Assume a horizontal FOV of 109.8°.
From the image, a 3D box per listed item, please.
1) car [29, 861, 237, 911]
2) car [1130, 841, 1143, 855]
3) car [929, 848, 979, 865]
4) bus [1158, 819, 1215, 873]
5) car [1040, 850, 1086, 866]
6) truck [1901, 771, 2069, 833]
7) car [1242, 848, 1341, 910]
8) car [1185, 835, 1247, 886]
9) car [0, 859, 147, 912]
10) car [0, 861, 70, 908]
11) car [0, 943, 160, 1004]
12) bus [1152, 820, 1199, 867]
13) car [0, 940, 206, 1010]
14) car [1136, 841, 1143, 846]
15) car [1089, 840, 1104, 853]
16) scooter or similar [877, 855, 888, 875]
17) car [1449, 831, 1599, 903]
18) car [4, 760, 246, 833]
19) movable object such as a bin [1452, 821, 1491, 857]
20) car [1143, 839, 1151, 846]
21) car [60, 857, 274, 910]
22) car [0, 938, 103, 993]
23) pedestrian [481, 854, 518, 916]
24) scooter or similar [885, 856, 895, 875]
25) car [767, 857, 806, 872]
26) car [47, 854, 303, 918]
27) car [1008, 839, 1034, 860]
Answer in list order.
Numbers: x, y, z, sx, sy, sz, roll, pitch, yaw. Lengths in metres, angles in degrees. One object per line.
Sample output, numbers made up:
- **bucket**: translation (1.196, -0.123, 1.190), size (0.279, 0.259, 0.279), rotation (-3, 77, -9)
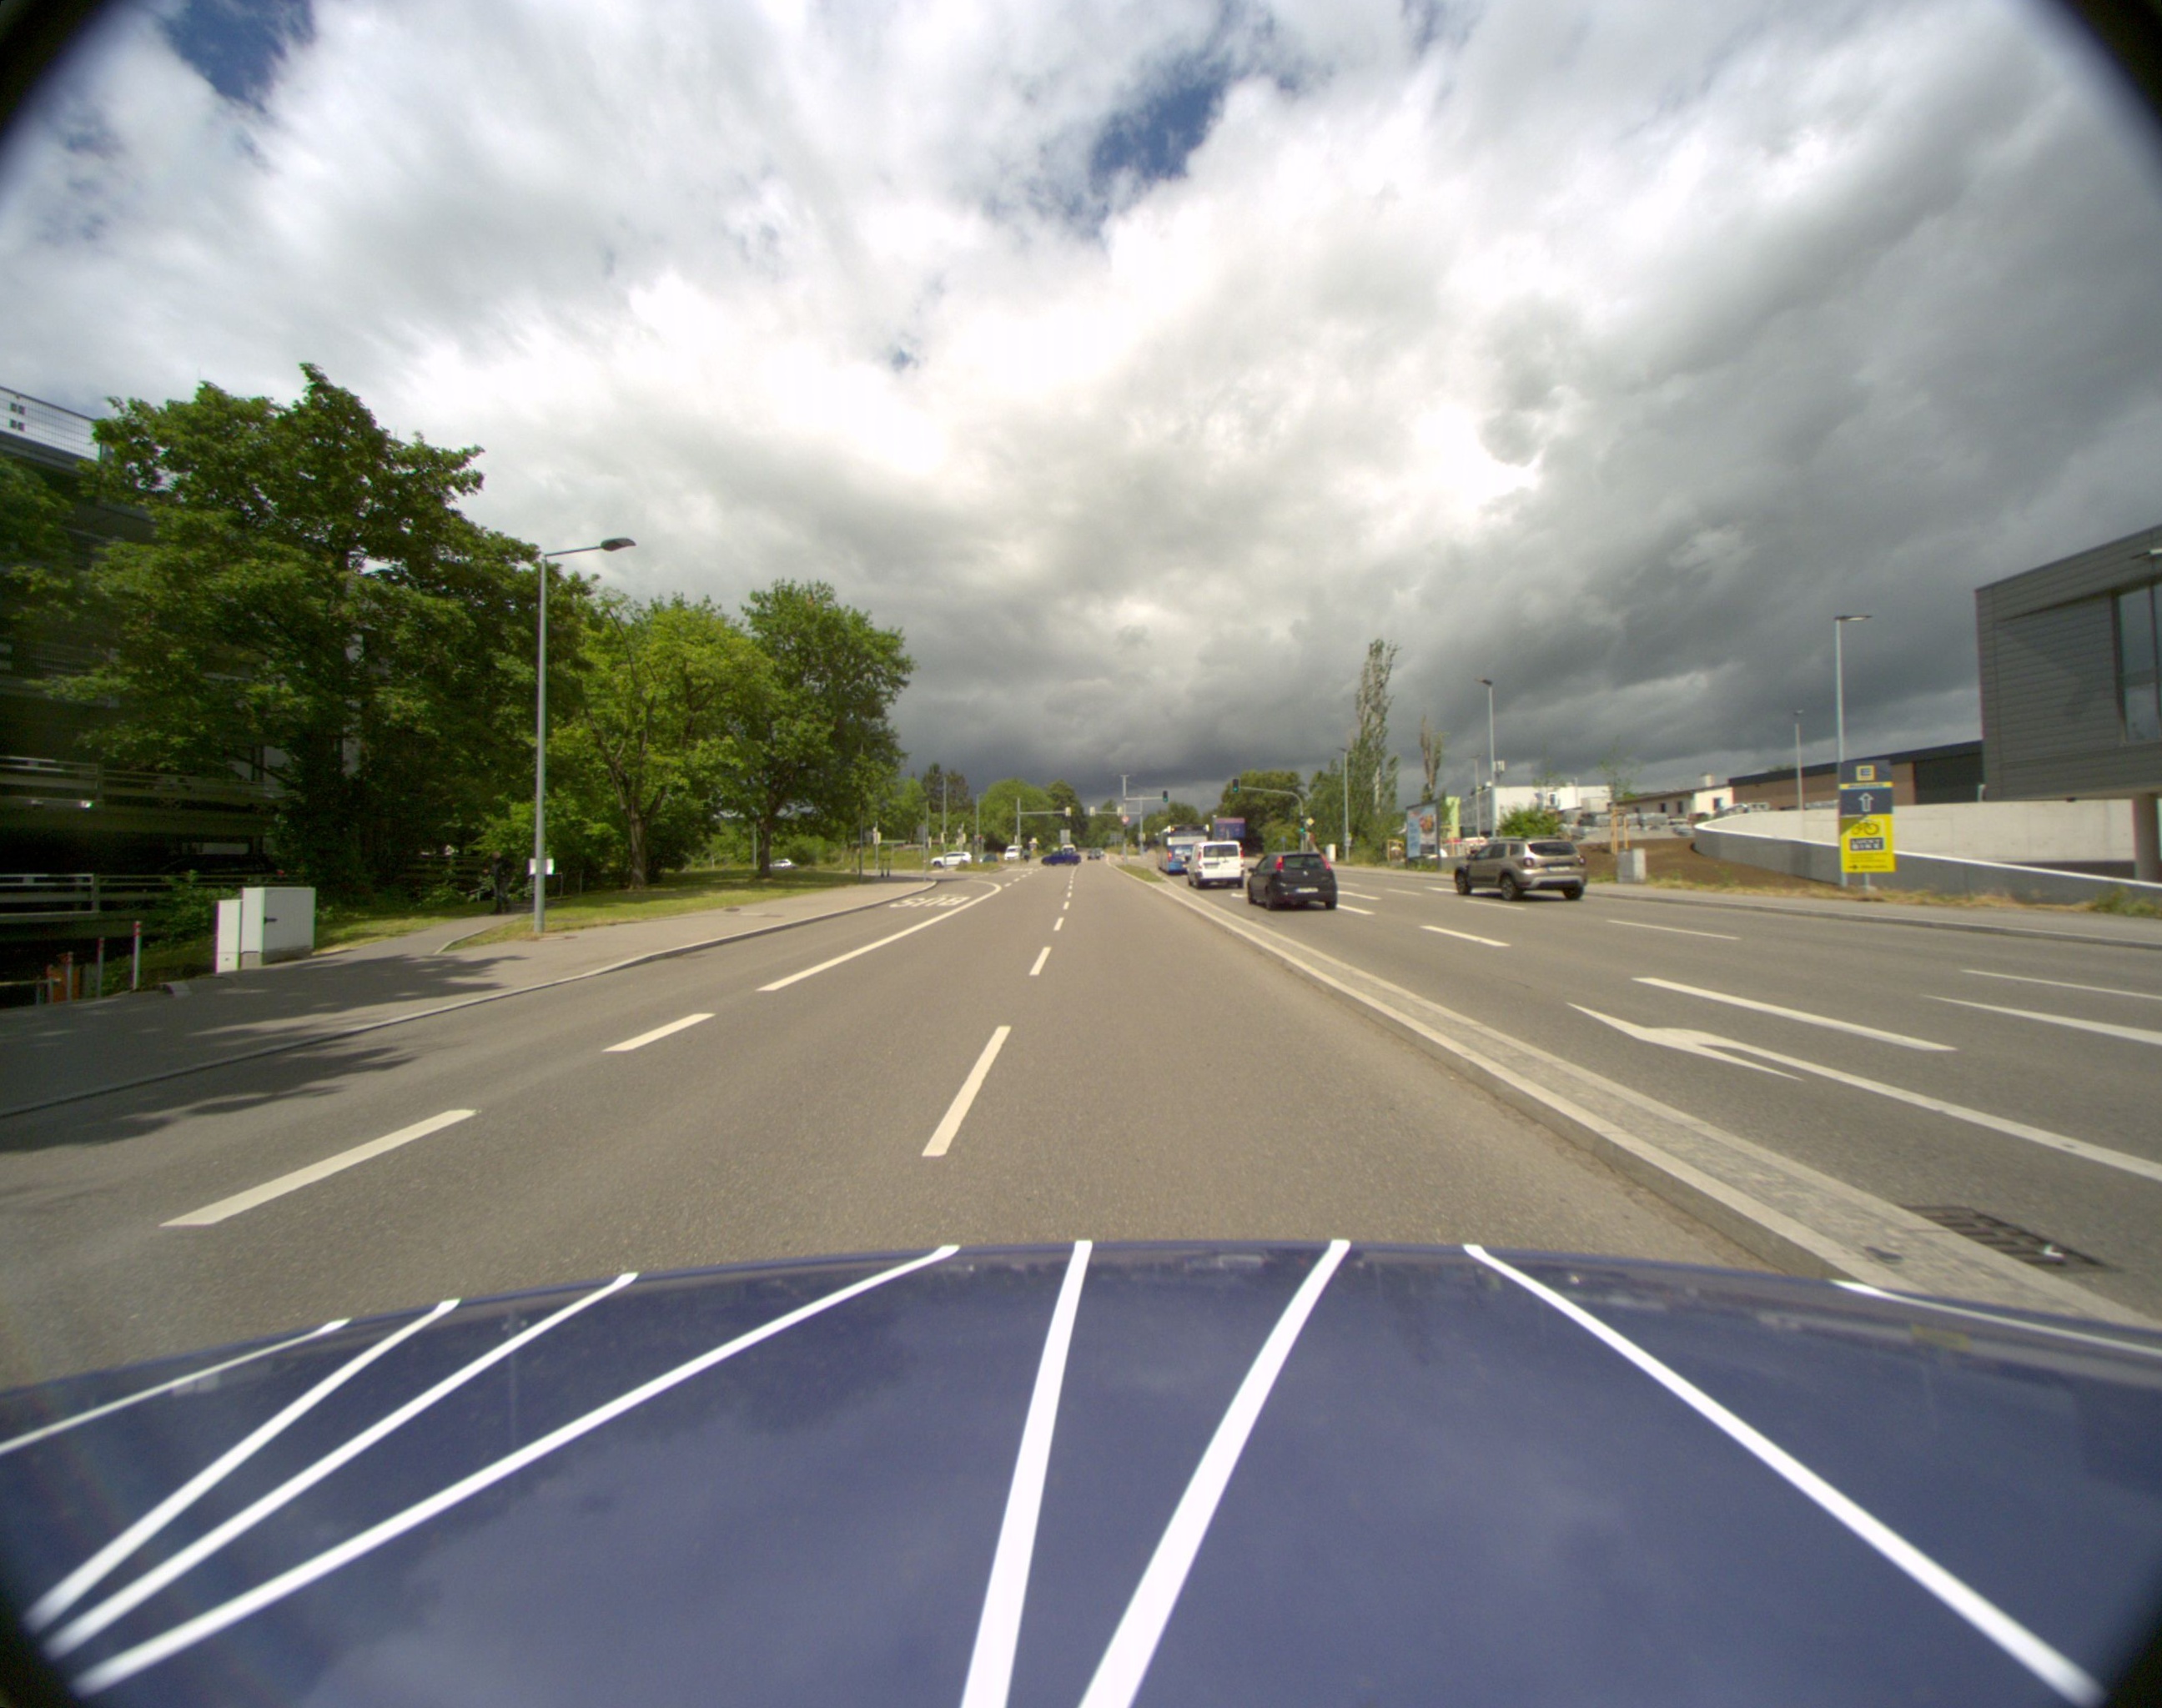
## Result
- **car**: translation (-30.139, 1.012, 24.321), size (1.773, 1.463, 3.805), rotation (-2, -2, 22)
- **car**: translation (9.621, -1.030, 132.781), size (1.998, 2.000, 4.003), rotation (-1, -4, 1)
- **car**: translation (-13.388, 0.266, 80.356), size (4.897, 1.649, 1.733), rotation (-1, 0, 2)
- **bus**: translation (6.760, -0.466, 49.815), size (2.822, 3.145, 8.909), rotation (-2, 0, 3)
- **car**: translation (-1.845, 0.432, 78.502), size (4.386, 1.502, 1.814), rotation (-1, 0, 29)
- **truck**: translation (44.558, -2.466, 37.771), size (1.996, 2.131, 6.593), rotation (-2, -4, 17)
- **car**: translation (5.439, 0.596, 20.073), size (1.641, 1.462, 3.776), rotation (-1, 0, 1)
- **car**: translation (5.550, 0.249, 31.776), size (1.881, 1.913, 4.751), rotation (-1, 0, 2)
- **car**: translation (-32.610, 0.967, 23.940), size (1.629, 1.515, 3.629), rotation (-1, 0, 21)
- **car**: translation (-36.614, 1.053, 24.978), size (1.766, 1.515, 3.628), rotation (-1, 0, 19)
- **car**: translation (-32.607, 3.783, 24.310), size (1.583, 1.404, 3.629), rotation (-1, 0, 21)
- **bus**: translation (7.238, -0.809, 59.321), size (2.822, 3.266, 10.120), rotation (-2, 1, 3)
- **car**: translation (-30.244, 3.672, 23.606), size (1.577, 1.515, 3.629), rotation (-1, 0, 21)
- **car**: translation (16.347, -2.989, 212.359), size (1.695, 1.392, 4.000), rotation (-1, 0, 2)
- **car**: translation (2.051, -0.991, 102.188), size (1.909, 1.626, 4.970), rotation (-1, 1, -1)
- **scooter or similar**: translation (-12.956, 0.709, 49.619), size (0.534, 1.256, 1.188), rotation (1, 0, -21)
- **car**: translation (11.887, 0.283, 20.750), size (1.734, 1.703, 4.271), rotation (-1, 1, 2)
- **car**: translation (-28.026, -1.600, 22.475), size (1.932, 1.783, 4.006), rotation (-2, 0, 21)
- **movable object such as a bin**: translation (28.745, -1.074, 56.024), size (2.148, 2.523, 3.419), rotation (0, 1, 20)
- **car**: translation (16.962, -2.893, 196.374), size (1.695, 1.391, 4.003), rotation (-1, -3, 1)
- **car**: translation (-27.649, 0.899, 23.156), size (1.773, 1.463, 3.805), rotation (-2, -2, 22)
- **car**: translation (-36.343, 3.823, 25.681), size (1.766, 1.515, 3.628), rotation (-1, 0, 19)
- **pedestrian**: translation (-16.344, 0.892, 21.379), size (0.776, 1.707, 0.589), rotation (2, -4, -36)
- **scooter or similar**: translation (-12.781, 0.770, 50.840), size (0.534, 1.256, 1.188), rotation (1, 0, -21)
- **car**: translation (-31.021, 1.111, 80.158), size (3.522, 1.451, 1.586), rotation (-1, -3, -4)
- **car**: translation (-25.831, 0.835, 21.907), size (1.653, 1.586, 4.398), rotation (-1, 1, 21)
- **car**: translation (-8.037, -0.572, 101.957), size (2.162, 2.635, 5.829), rotation (-1, 0, 9)
